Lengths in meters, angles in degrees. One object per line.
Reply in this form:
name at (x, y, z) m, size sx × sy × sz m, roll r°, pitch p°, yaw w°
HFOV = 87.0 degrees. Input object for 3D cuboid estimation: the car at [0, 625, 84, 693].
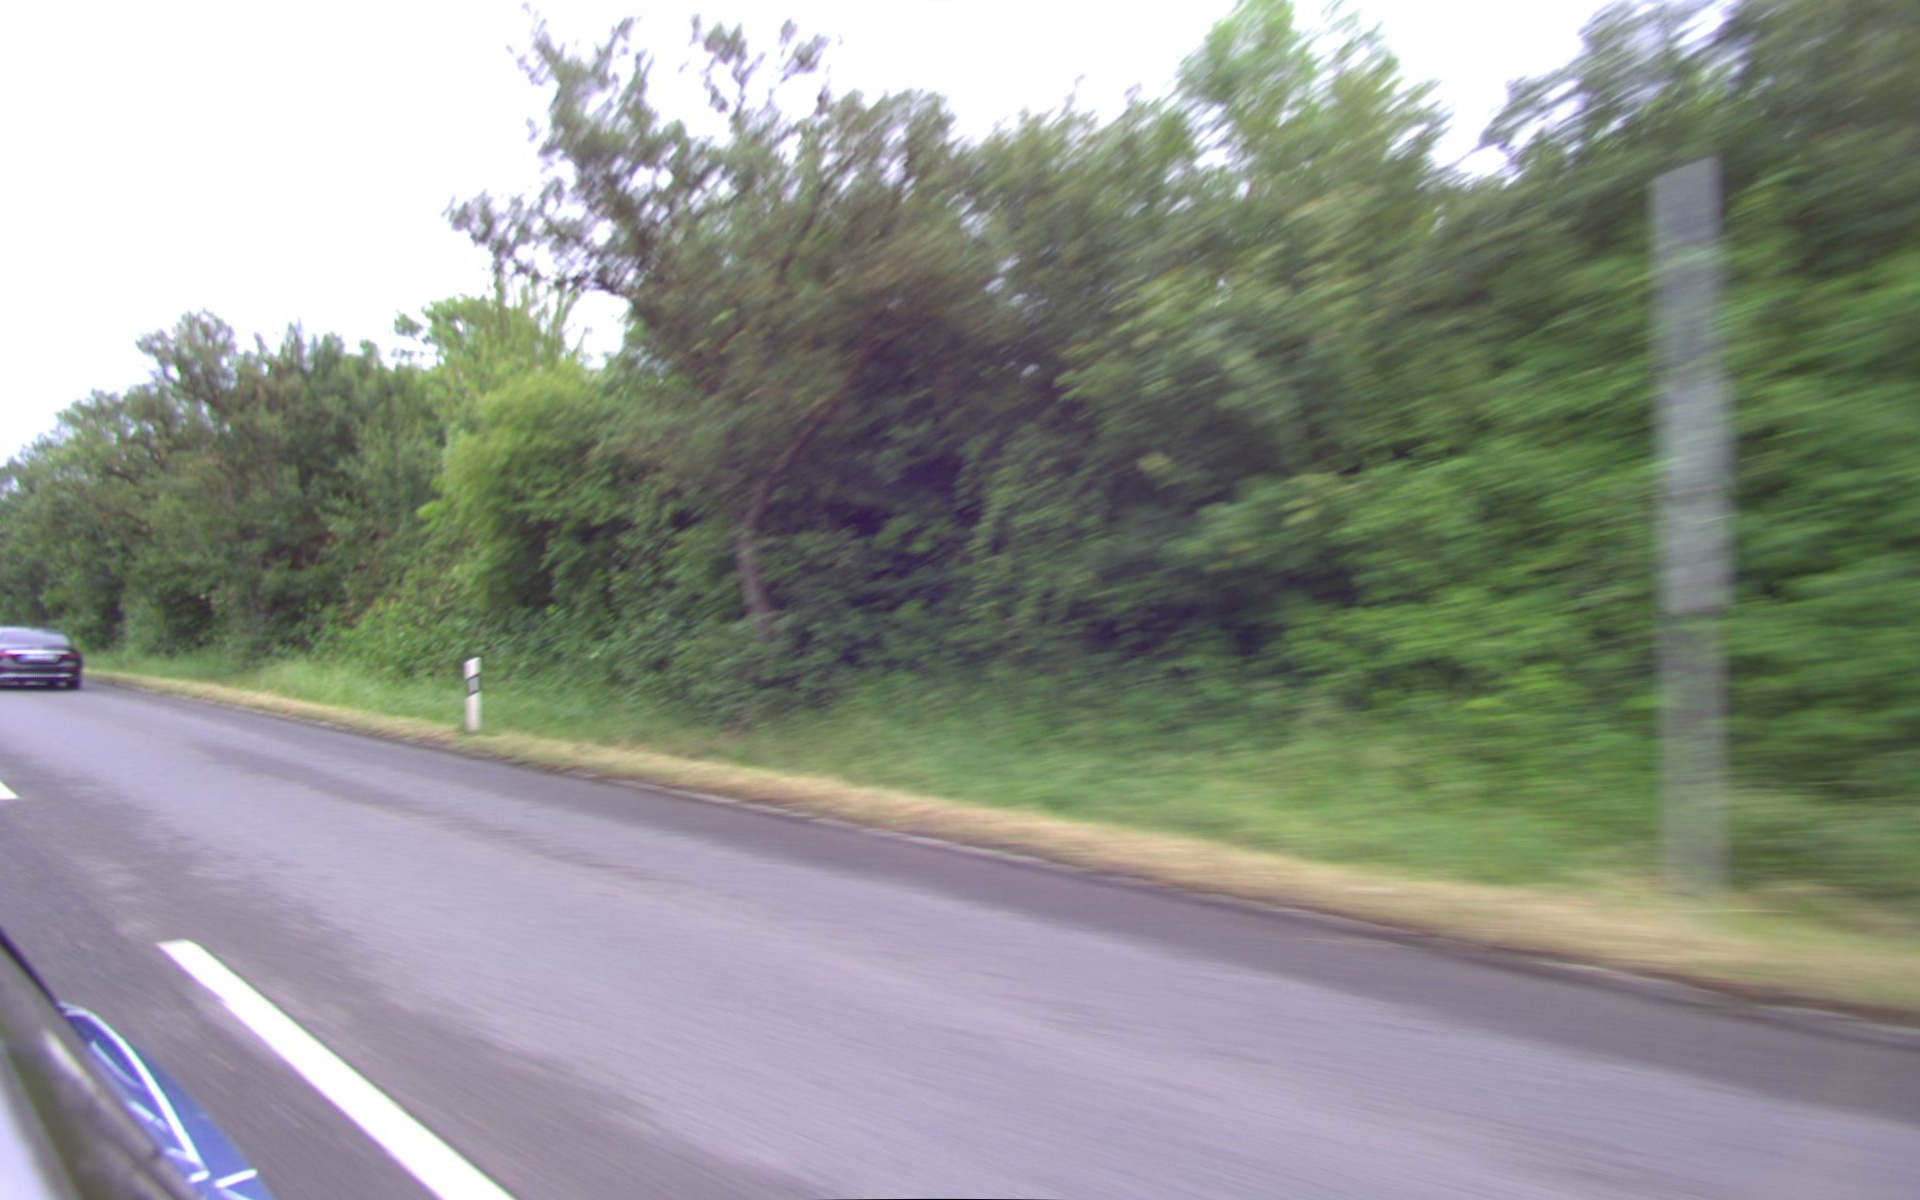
car at (-22.792, 1.359, 24.348) m, size 4.571 × 1.500 × 1.852 m, roll -1°, pitch -4°, yaw 41°
